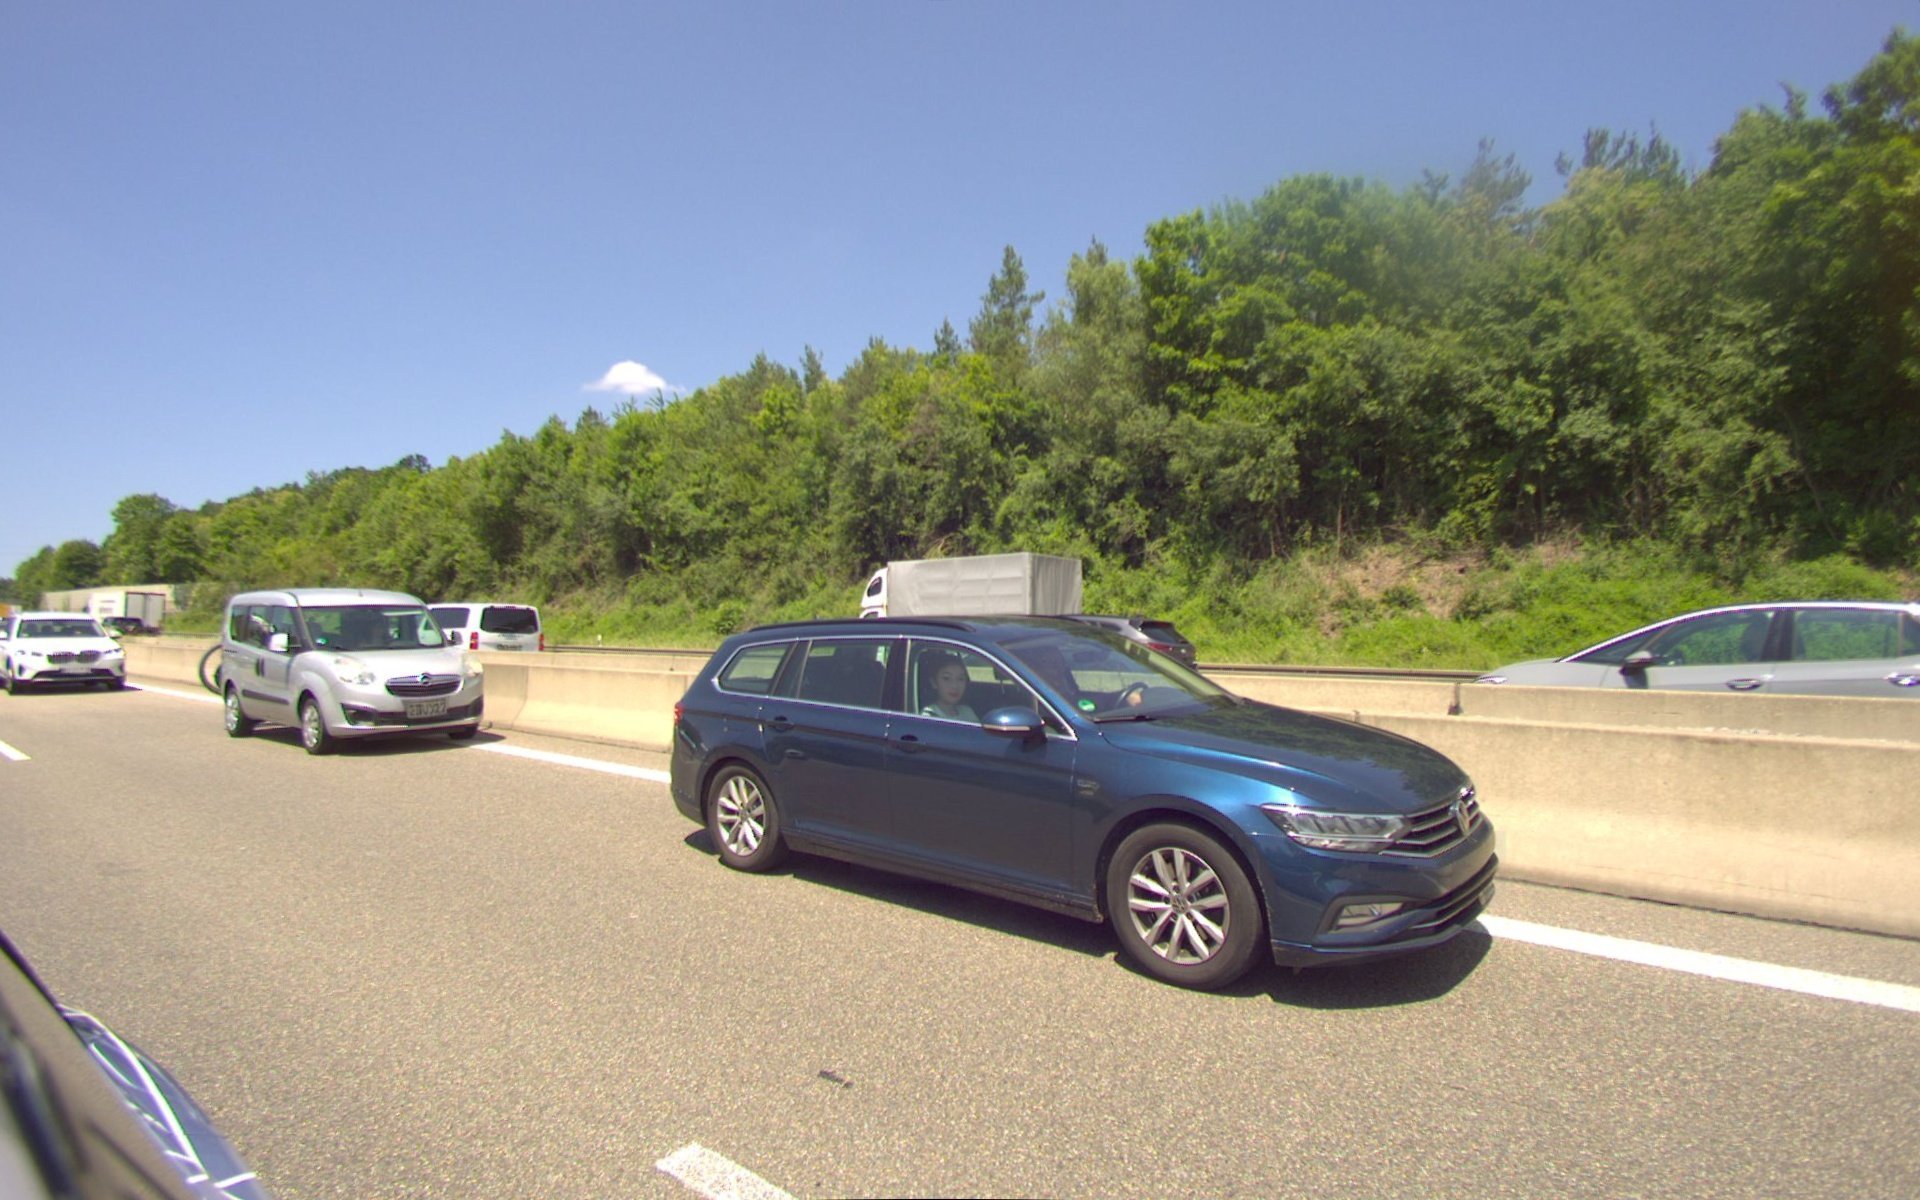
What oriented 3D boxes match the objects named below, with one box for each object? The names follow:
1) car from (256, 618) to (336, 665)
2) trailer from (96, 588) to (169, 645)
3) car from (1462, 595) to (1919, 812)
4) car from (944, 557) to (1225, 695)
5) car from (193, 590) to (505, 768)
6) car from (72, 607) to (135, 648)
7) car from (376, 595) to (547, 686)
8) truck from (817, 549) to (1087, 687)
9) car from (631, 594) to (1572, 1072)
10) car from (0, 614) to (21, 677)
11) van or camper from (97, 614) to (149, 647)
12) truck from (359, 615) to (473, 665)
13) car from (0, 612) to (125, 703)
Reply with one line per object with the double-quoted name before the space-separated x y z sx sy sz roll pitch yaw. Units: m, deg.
"car" -28.582 1.732 43.498 4.291 1.852 1.766 0 0 41
"trailer" -69.287 1.342 84.655 10.810 4.515 2.919 0 0 41
"car" 6.528 0.747 8.309 3.996 1.506 1.806 -2 -2 40
"car" 2.011 0.388 17.149 4.418 2.029 1.972 0 0 42
"car" -7.642 0.797 12.433 4.914 1.786 1.833 0 0 40
"car" -45.235 1.414 53.425 3.998 2.029 1.973 0 0 41
"car" -12.339 0.903 24.918 4.953 2.029 1.973 0 0 40
"truck" -0.380 0.394 24.346 6.737 2.906 2.156 0 0 40
"car" 0.360 0.736 5.341 4.675 1.461 1.855 -1 -1 41
"car" -29.267 1.327 29.749 3.997 1.770 1.973 0 0 40
"van or camper" -54.589 1.934 65.942 4.927 2.029 1.972 0 0 43
"truck" -24.678 1.750 45.798 6.486 2.029 2.328 0 0 40
"car" -19.511 1.146 21.741 3.998 1.719 1.801 0 0 41
